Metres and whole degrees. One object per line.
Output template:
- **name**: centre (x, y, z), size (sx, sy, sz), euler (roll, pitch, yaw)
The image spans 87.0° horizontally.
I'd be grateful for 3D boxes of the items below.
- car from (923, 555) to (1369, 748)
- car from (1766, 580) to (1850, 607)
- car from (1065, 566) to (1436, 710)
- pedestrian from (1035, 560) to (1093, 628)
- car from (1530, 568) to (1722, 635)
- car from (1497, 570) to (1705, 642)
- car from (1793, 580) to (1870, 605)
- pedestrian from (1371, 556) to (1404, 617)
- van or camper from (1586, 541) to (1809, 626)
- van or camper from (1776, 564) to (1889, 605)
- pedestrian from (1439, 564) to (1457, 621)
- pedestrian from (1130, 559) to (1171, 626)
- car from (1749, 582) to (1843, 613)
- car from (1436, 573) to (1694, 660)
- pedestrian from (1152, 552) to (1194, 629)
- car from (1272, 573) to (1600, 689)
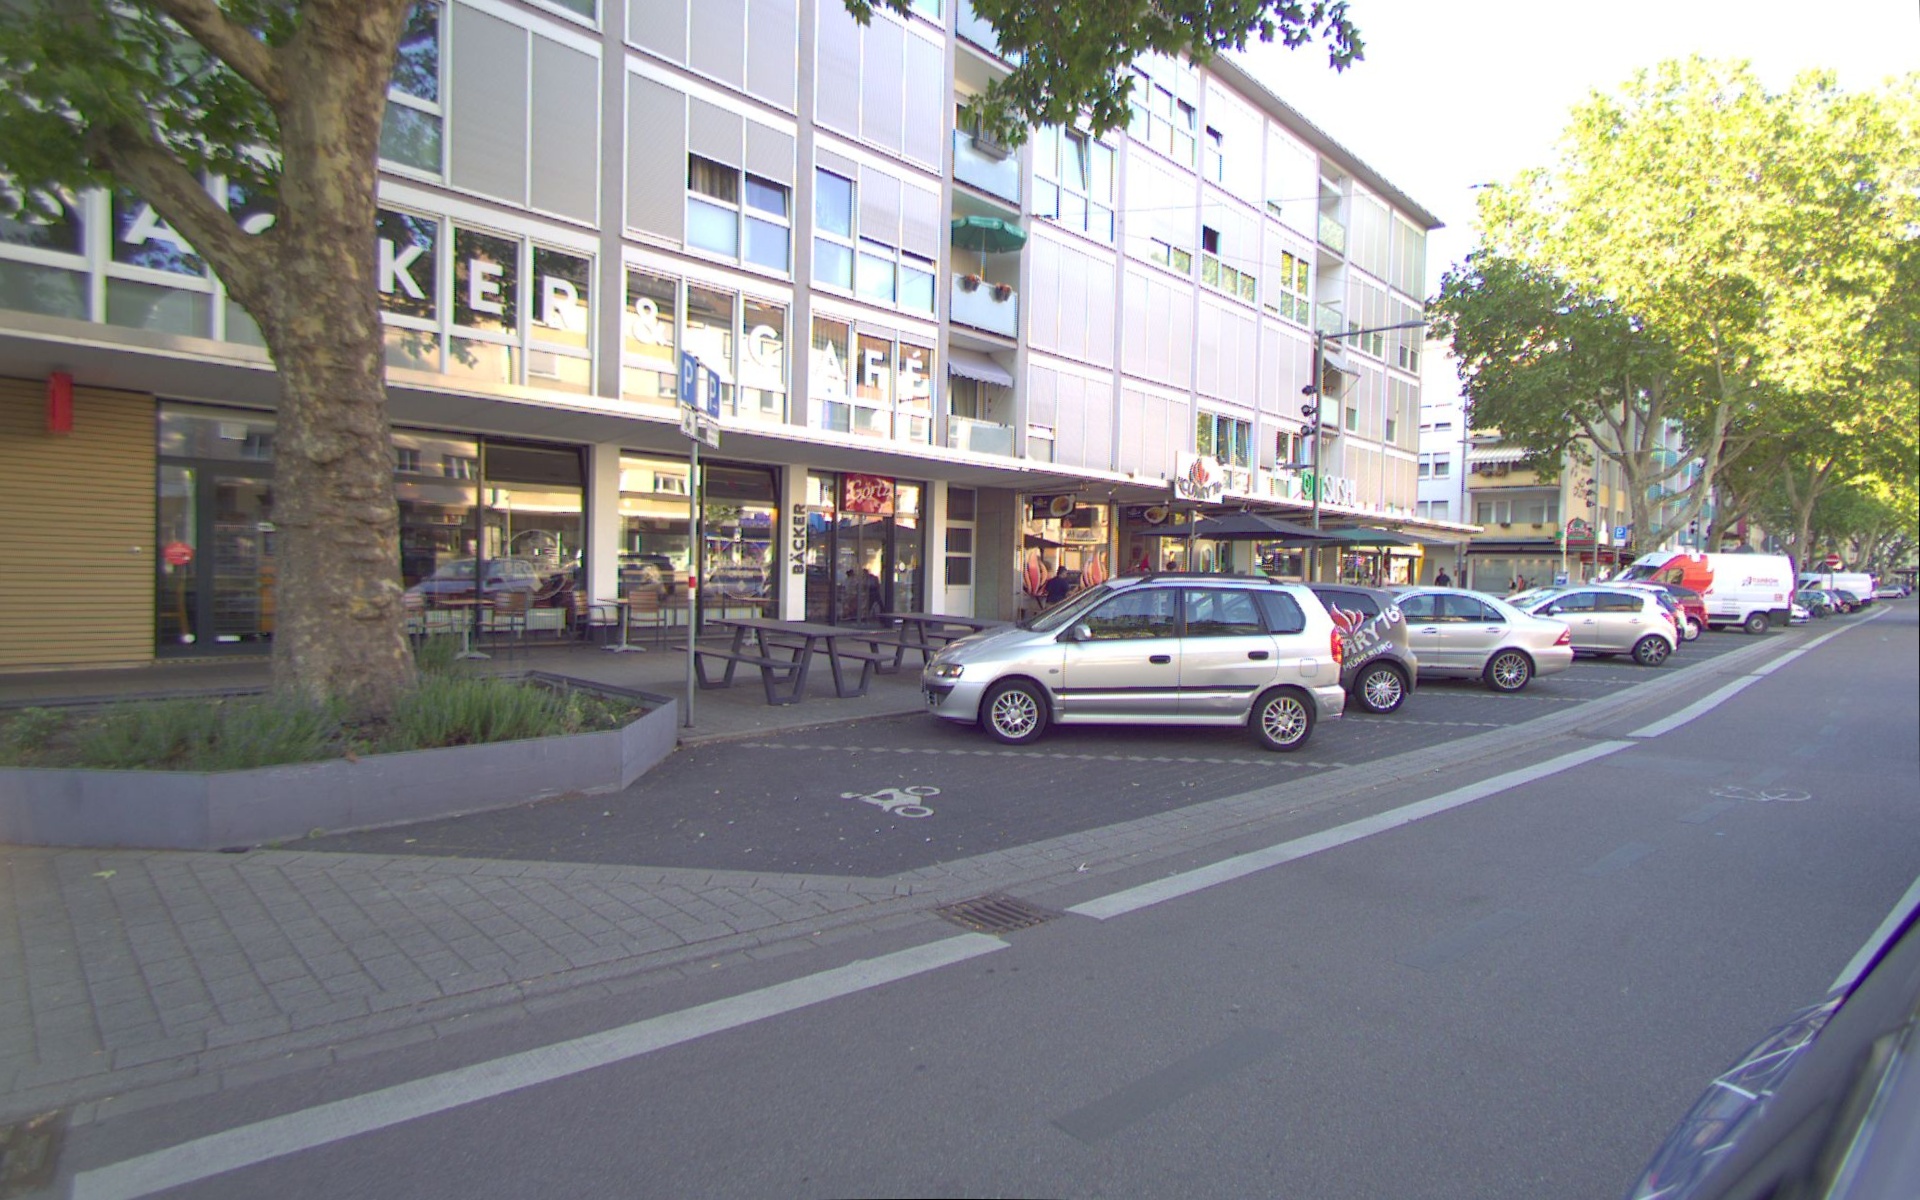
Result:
- **car**: centre (1.636, 0.431, 9.893), size (3.921, 1.626, 1.811), euler (1, 2, -3)
- **car**: centre (48.447, -0.401, 57.865), size (3.271, 1.363, 1.530), euler (2, 3, 5)
- **car**: centre (3.391, 0.407, 12.351), size (3.921, 1.525, 1.811), euler (1, 2, -3)
- **pedestrian**: centre (2.199, -0.138, 21.435), size (0.945, 1.379, 0.750), euler (0, 2, -41)
- **car**: centre (17.894, 0.014, 27.352), size (3.929, 1.582, 1.659), euler (2, 3, 5)
- **car**: centre (15.749, 0.109, 25.028), size (3.929, 1.541, 1.659), euler (2, 3, 5)
- **car**: centre (53.821, -0.474, 62.549), size (3.271, 1.363, 1.530), euler (2, 3, 5)
- **pedestrian**: centre (11.625, -0.382, 27.509), size (0.537, 1.610, 0.676), euler (5, 4, 44)
- **van or camper**: centre (23.324, -0.545, 32.204), size (5.366, 2.499, 1.998), euler (1, 2, 5)
- **van or camper**: centre (56.113, -1.036, 65.161), size (5.363, 2.499, 1.999), euler (1, 2, 3)
- **pedestrian**: centre (17.808, -0.272, 36.912), size (0.547, 2.039, 0.571), euler (0, 0, 31)
- **pedestrian**: centre (4.166, -0.177, 22.155), size (0.537, 1.417, 0.676), euler (5, 4, 44)
- **car**: centre (41.871, -0.149, 50.750), size (3.271, 1.363, 1.530), euler (2, 3, 5)
- **car**: centre (11.744, 0.285, 19.870), size (3.929, 1.453, 1.659), euler (2, 3, 5)
- **pedestrian**: centre (4.574, -0.209, 21.750), size (0.537, 1.610, 0.676), euler (5, 4, 44)
- **car**: centre (6.823, 0.403, 14.820), size (3.926, 1.453, 1.660), euler (2, 3, 2)
